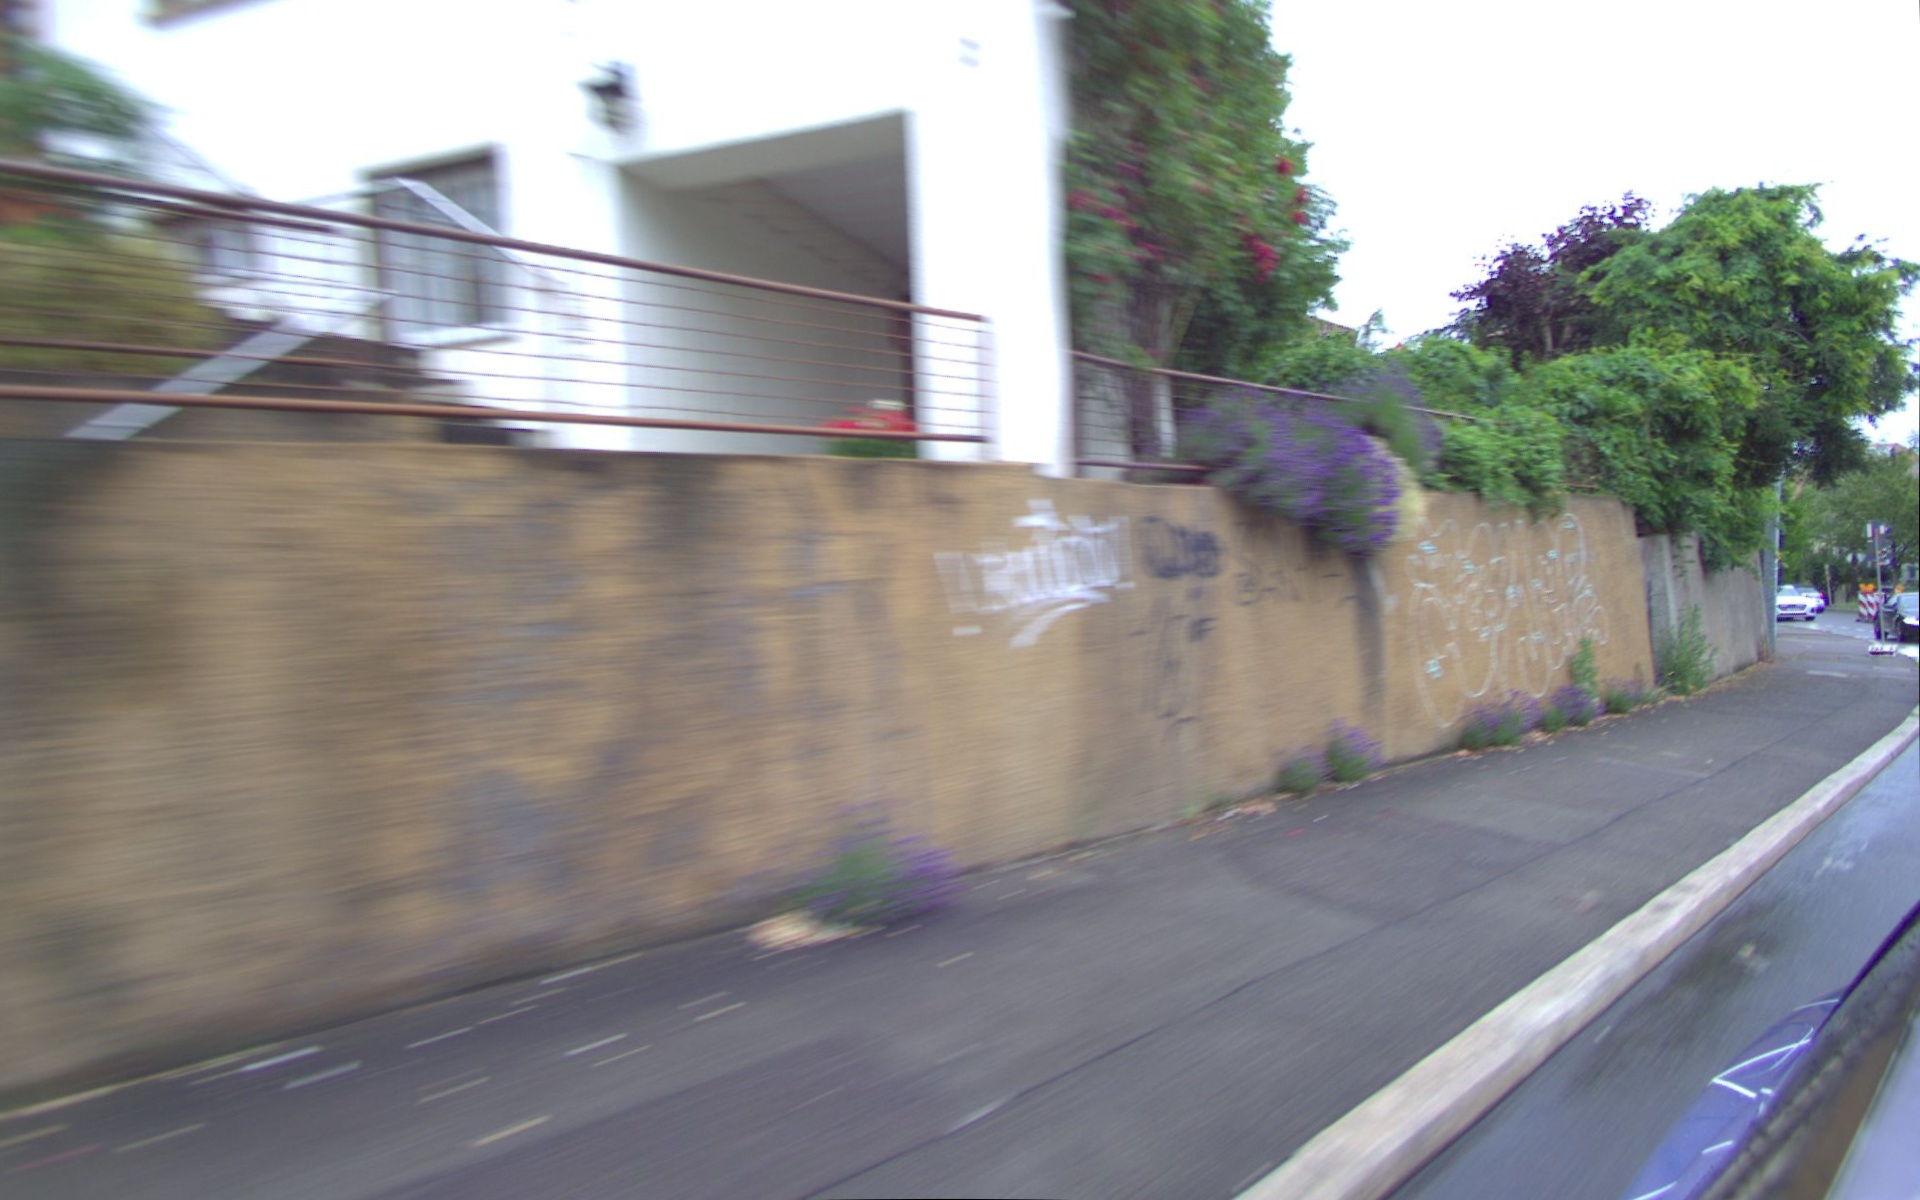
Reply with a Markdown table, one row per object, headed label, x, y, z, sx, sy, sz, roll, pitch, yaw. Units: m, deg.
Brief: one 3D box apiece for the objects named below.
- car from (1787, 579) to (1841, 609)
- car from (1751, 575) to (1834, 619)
| label | x | y | z | sx | sy | sz | roll | pitch | yaw |
| --- | --- | --- | --- | --- | --- | --- | --- | --- | --- |
| car | 45.910 | -0.317 | 54.449 | 1.445 | 1.545 | 2.898 | -2 | 0 | 25 |
| car | 38.395 | -0.162 | 46.802 | 2.000 | 1.760 | 4.555 | -5 | 0 | 28 |
